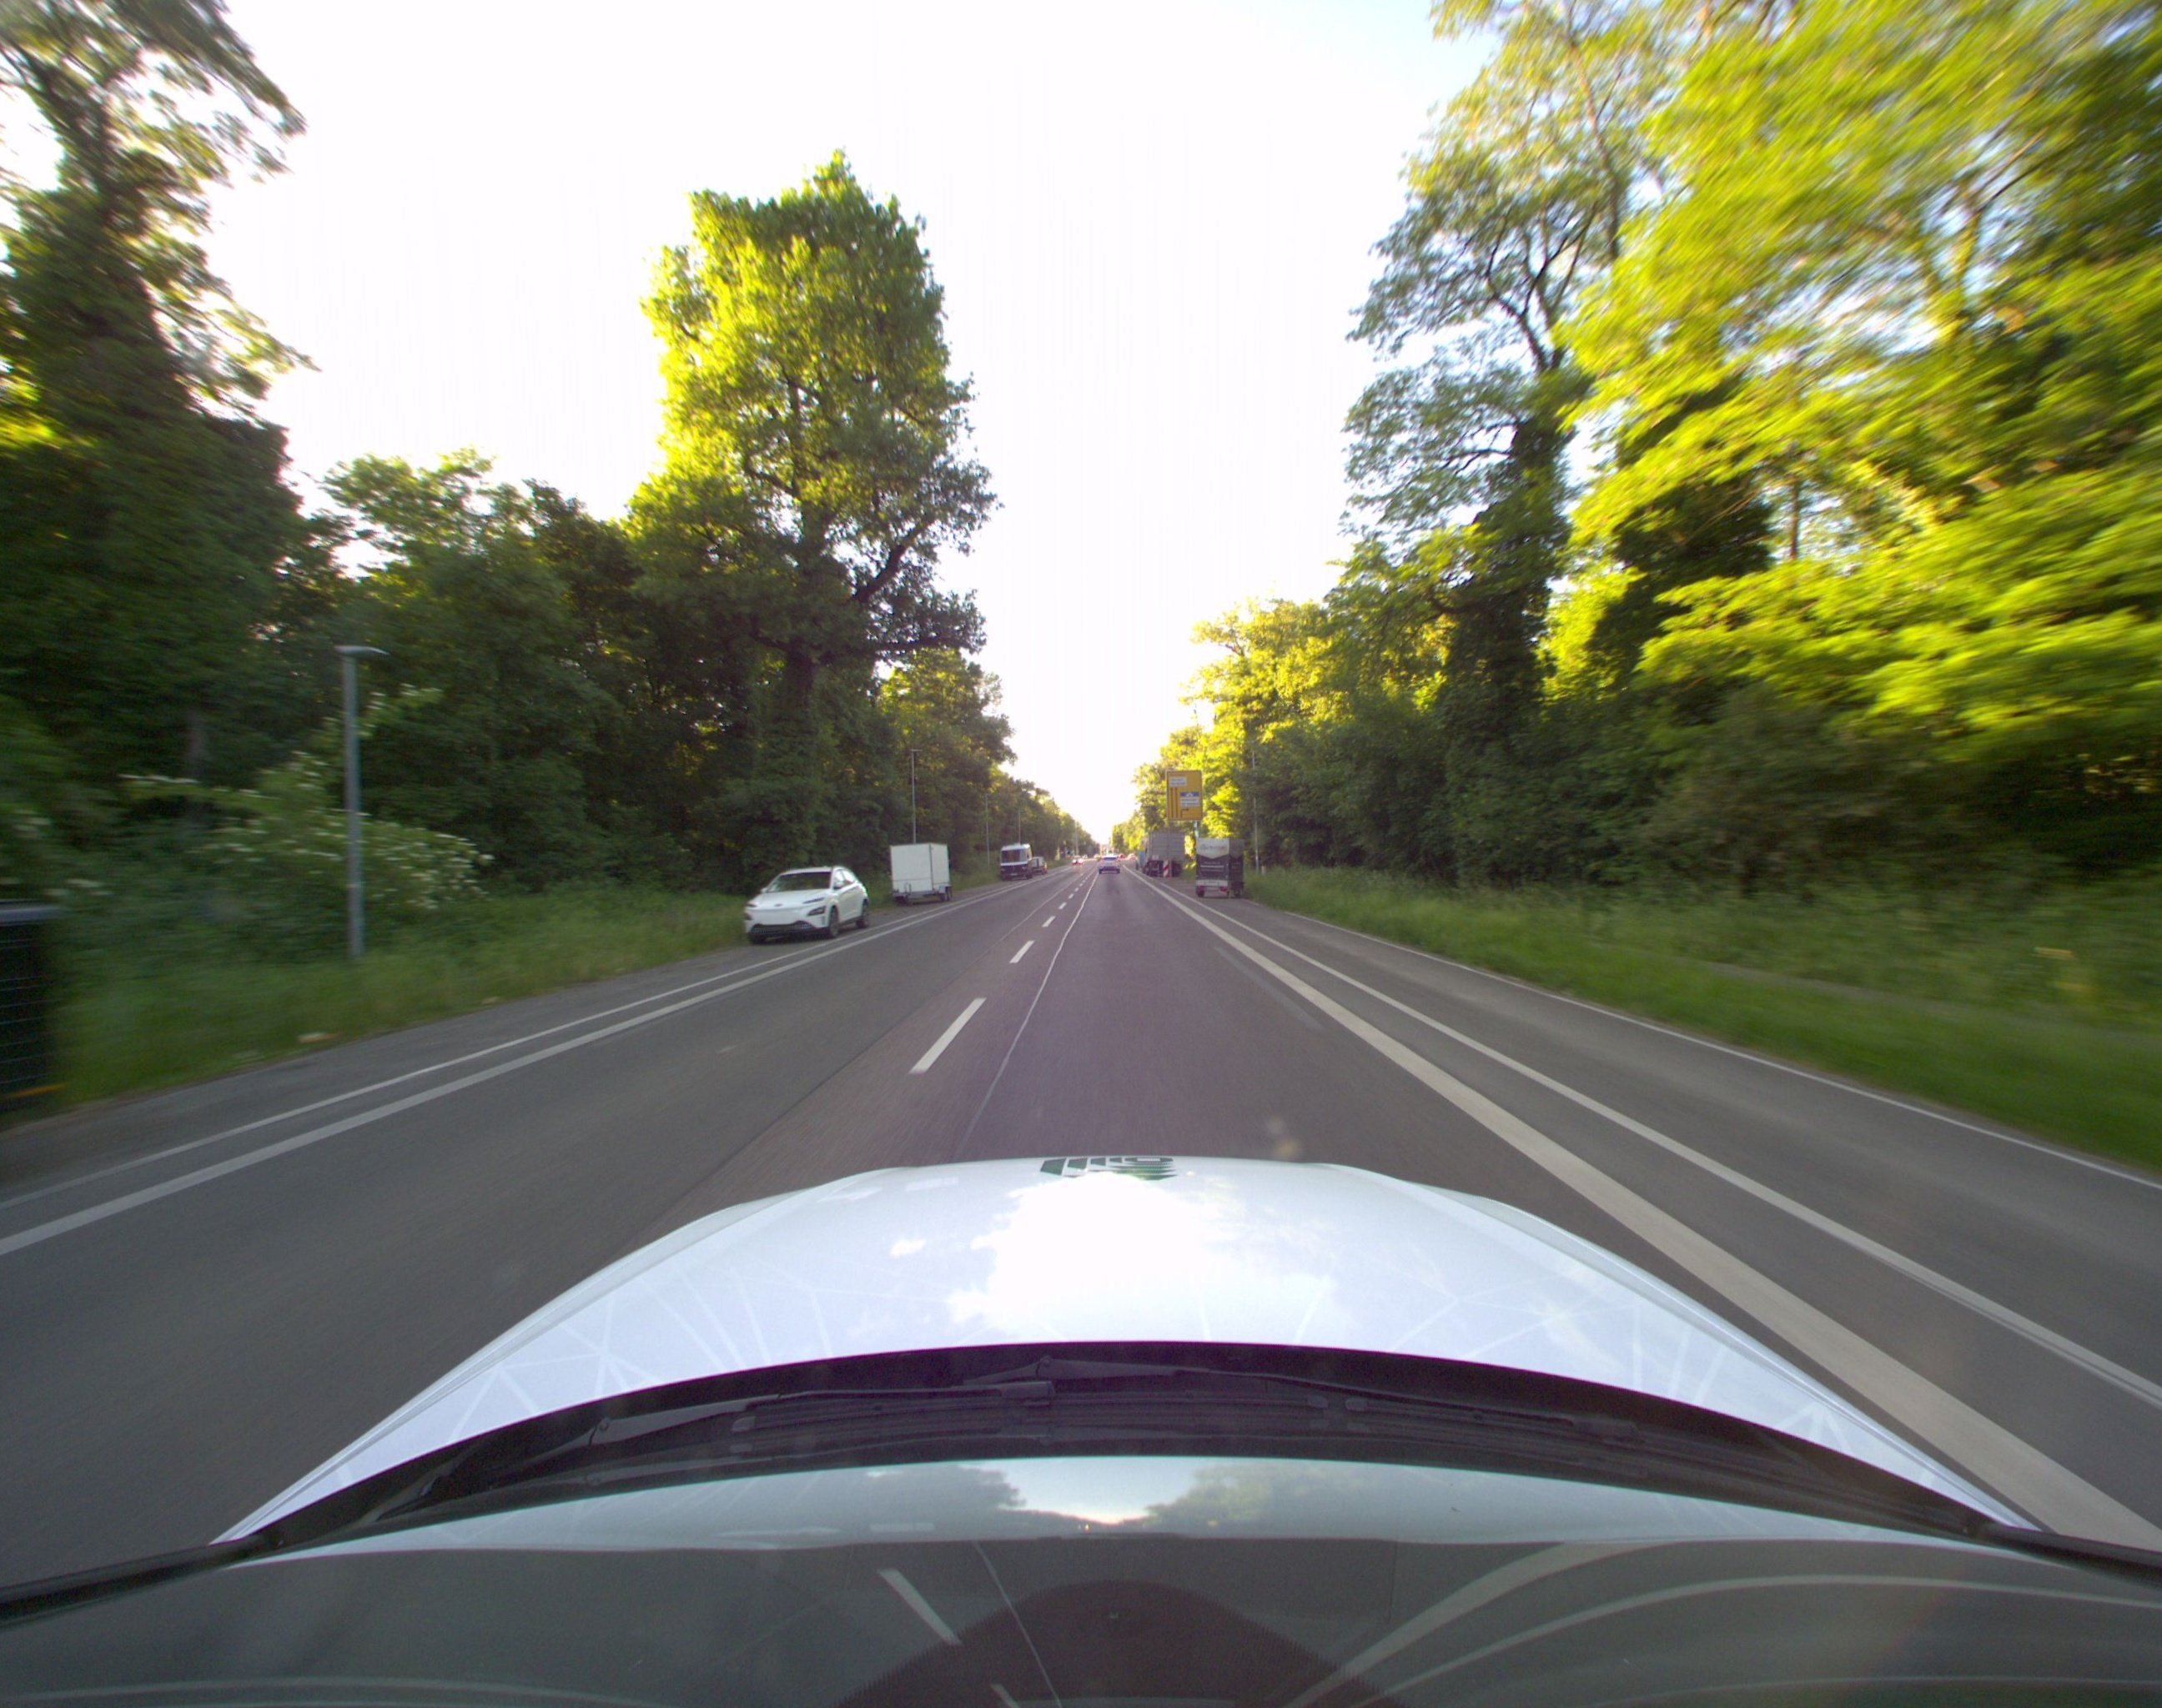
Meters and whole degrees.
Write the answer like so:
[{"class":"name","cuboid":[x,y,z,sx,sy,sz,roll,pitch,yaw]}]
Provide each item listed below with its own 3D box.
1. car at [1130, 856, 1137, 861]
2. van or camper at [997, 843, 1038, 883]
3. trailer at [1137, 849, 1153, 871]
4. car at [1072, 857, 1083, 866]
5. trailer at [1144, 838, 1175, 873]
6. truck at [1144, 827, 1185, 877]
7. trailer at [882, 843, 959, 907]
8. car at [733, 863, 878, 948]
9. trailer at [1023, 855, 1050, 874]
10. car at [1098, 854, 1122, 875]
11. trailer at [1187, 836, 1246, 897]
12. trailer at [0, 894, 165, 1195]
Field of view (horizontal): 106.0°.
[{"class":"car","cuboid":[15.089,1.270,233.966,1.985,1.618,4.003,0,0,3]},{"class":"van or camper","cuboid":[-4.828,0.683,62.851,2.293,2.768,5.559,-4,0,2]},{"class":"trailer","cuboid":[6.457,0.609,82.806,1.494,2.235,4.552,0,0,2]},{"class":"car","cuboid":[-0.562,1.275,144.075,1.672,1.415,4.002,-2,0,2]},{"class":"trailer","cuboid":[6.497,0.135,67.891,2.263,2.844,5.211,0,0,3]},{"class":"truck","cuboid":[6.019,-0.106,59.340,2.495,3.366,7.111,-1,0,2]},{"class":"trailer","cuboid":[-6.269,0.801,32.255,2.066,2.293,3.490,-3,0,4]},{"class":"car","cuboid":[-6.127,1.075,18.677,1.808,1.571,4.206,-4,0,0]},{"class":"trailer","cuboid":[-4.128,1.010,76.344,1.459,1.659,3.379,-4,-1,14]},{"class":"car","cuboid":[2.514,0.897,70.271,1.986,1.640,4.002,-2,0,2]},{"class":"trailer","cuboid":[4.968,0.431,29.733,1.600,2.112,2.409,-1,0,22]},{"class":"trailer","cuboid":[-6.700,1.060,3.931,1.383,1.574,2.689,-2,0,22]}]
